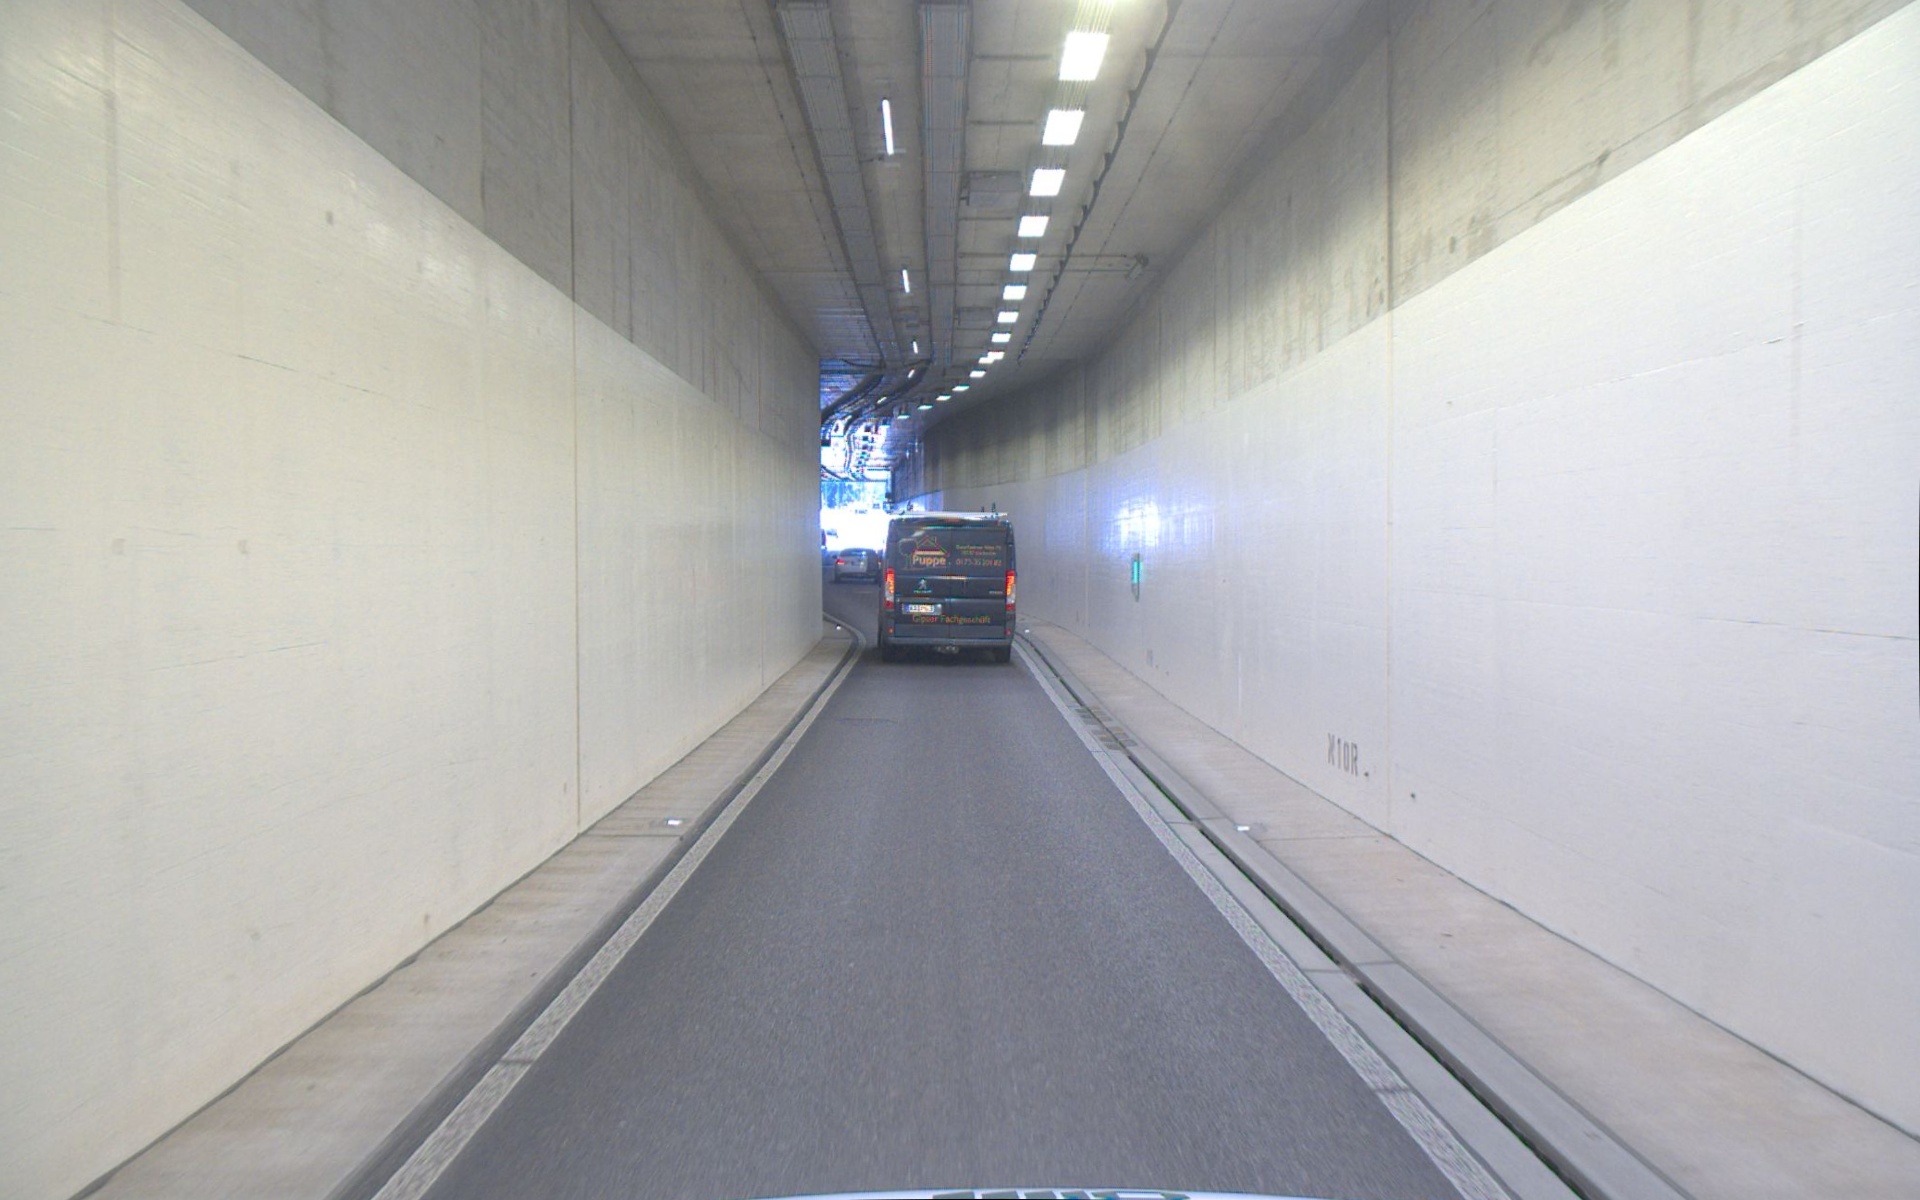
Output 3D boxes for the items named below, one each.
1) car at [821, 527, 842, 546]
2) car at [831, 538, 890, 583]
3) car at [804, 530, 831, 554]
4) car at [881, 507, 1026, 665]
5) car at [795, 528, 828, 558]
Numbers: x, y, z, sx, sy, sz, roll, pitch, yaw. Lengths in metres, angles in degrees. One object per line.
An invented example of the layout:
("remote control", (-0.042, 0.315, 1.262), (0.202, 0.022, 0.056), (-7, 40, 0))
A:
("car", (-11.486, -5.633, 147.380), (1.840, 1.653, 4.217), (1, 1, -5))
("car", (-3.558, -1.466, 59.830), (2.043, 1.539, 4.636), (0, 2, -2))
("car", (-10.290, -4.196, 119.510), (1.840, 1.653, 4.217), (1, 1, -5))
("car", (-0.140, -0.300, 26.580), (2.114, 2.305, 4.637), (0, 2, -1))
("car", (-8.800, -3.367, 98.056), (1.840, 1.653, 4.217), (1, 1, -5))
